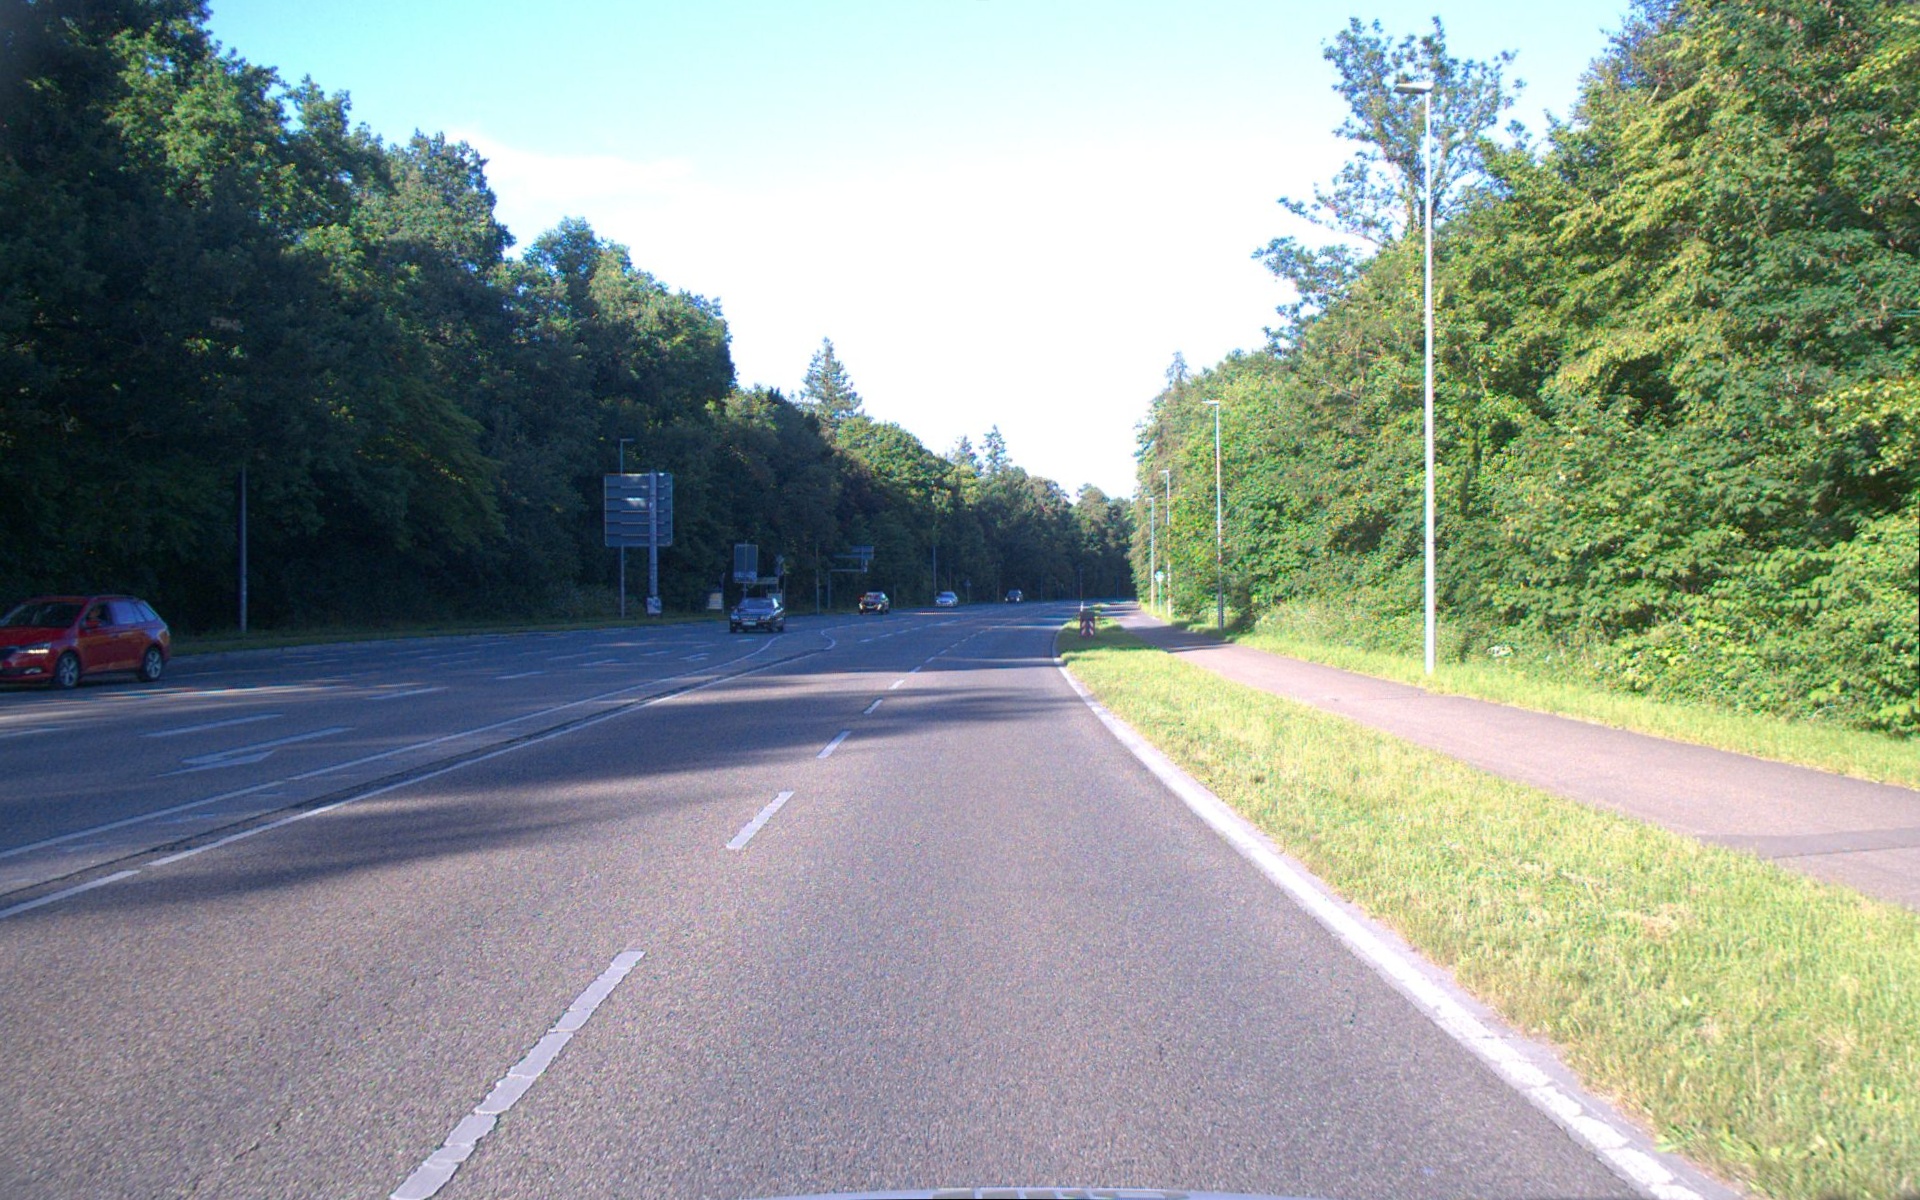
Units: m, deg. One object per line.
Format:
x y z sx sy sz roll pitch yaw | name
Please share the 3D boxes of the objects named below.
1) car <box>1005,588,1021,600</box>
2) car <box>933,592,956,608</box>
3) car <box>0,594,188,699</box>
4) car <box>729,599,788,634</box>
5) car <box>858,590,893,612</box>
6.895 -0.791 213.068 1.786 1.617 4.354 0 0 5 | car
-1.499 -0.015 159.471 1.786 1.530 4.309 0 0 5 | car
-14.872 0.714 27.546 1.952 1.591 4.338 -1 0 0 | car
-7.878 0.628 64.953 1.708 1.256 4.673 -1 0 0 | car
-6.030 0.061 118.412 1.786 1.572 4.260 0 0 7 | car
